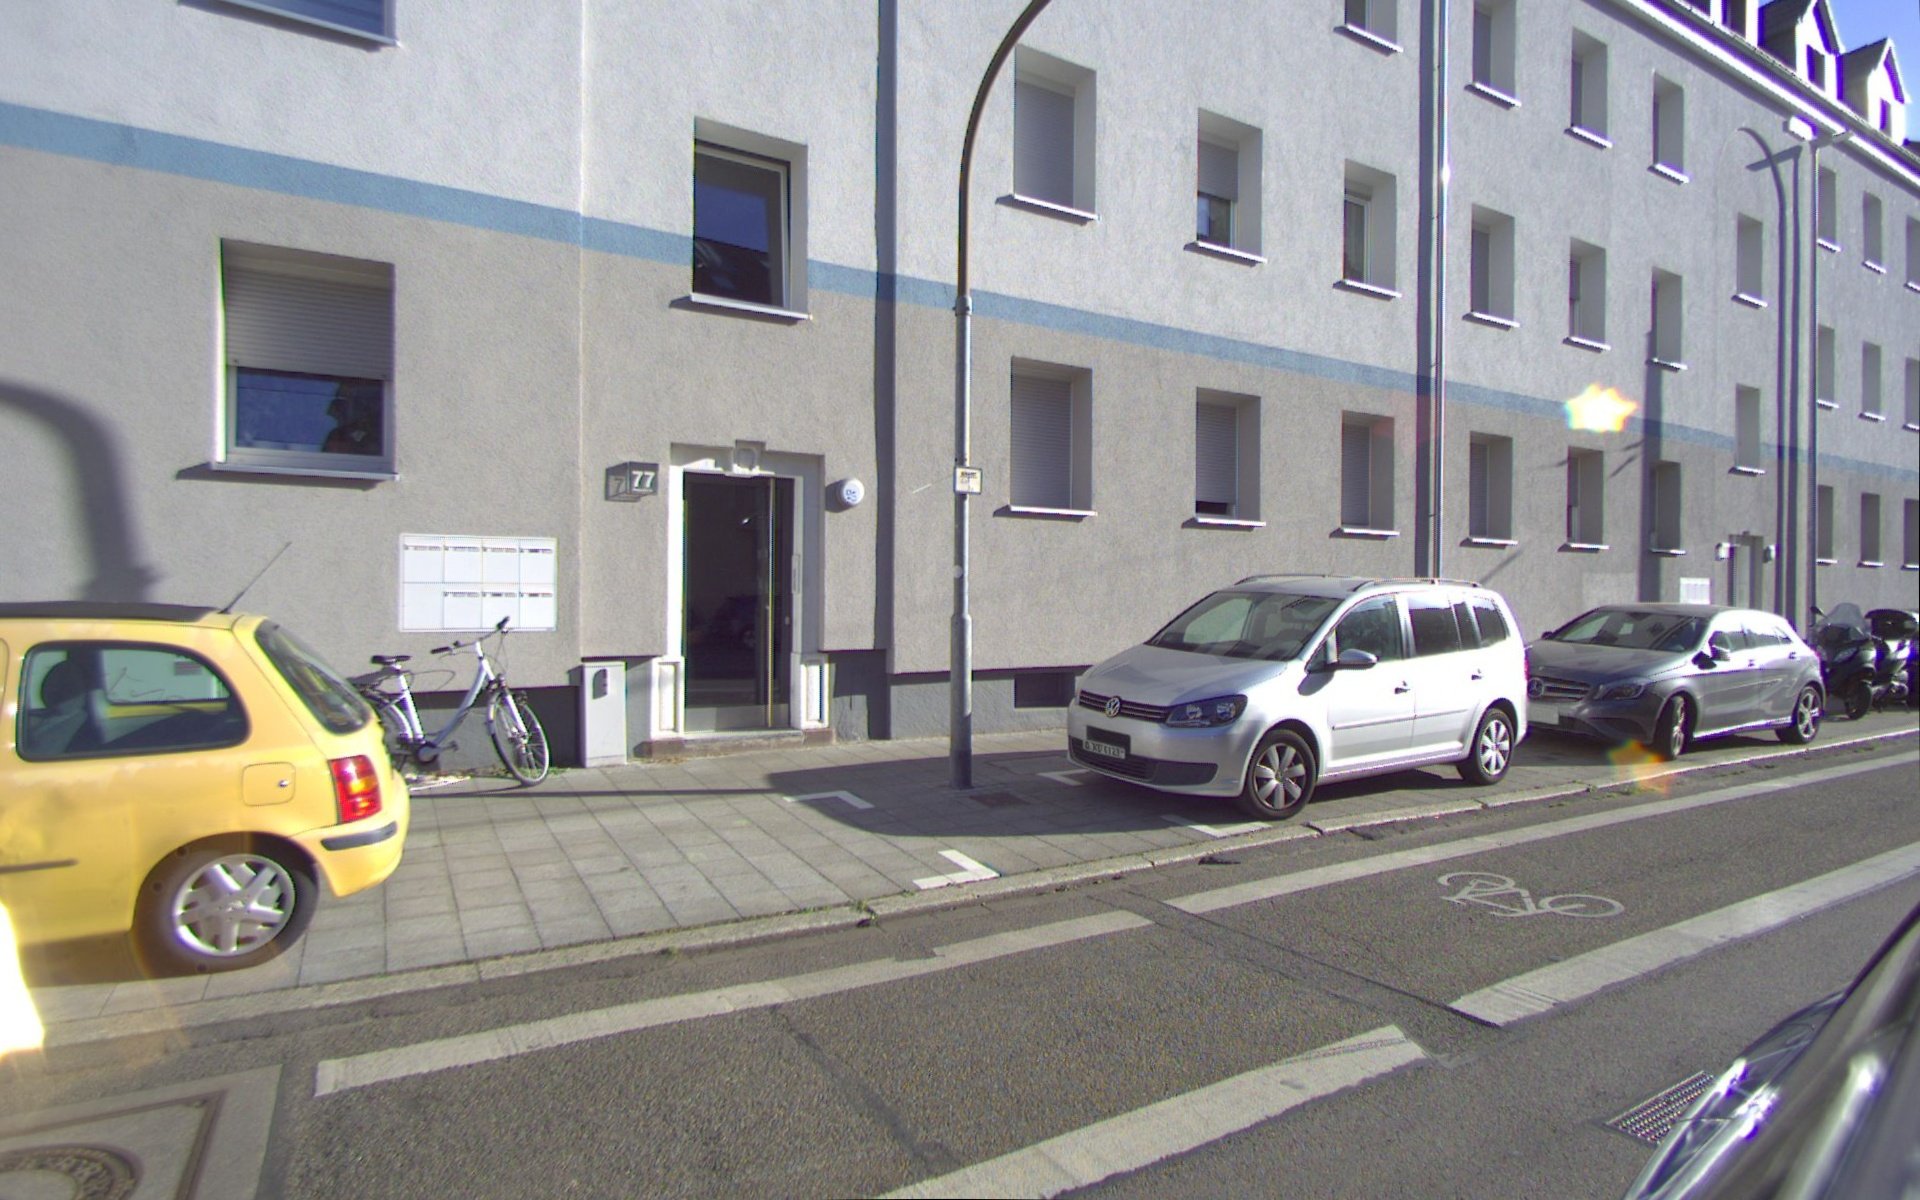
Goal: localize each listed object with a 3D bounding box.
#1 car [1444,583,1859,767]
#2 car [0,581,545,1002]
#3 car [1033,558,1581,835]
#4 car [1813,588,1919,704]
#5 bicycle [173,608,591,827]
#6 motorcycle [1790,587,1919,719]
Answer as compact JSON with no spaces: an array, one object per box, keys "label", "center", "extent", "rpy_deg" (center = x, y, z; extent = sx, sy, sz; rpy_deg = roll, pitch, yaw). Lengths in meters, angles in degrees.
[{"label":"car","center":[7.407,0.655,10.785],"extent":[4.278,1.574,1.873],"rpy_deg":[0,2,-29]},{"label":"car","center":[-3.977,0.664,4.044],"extent":[4.118,1.448,1.520],"rpy_deg":[-1,2,-31]},{"label":"car","center":[2.935,0.558,8.181],"extent":[4.536,1.686,1.762],"rpy_deg":[0,2,-33]},{"label":"car","center":[14.998,0.650,15.550],"extent":[3.825,1.590,1.616],"rpy_deg":[0,2,-29]},{"label":"bicycle","center":[-3.798,0.675,6.838],"extent":[2.281,1.212,1.100],"rpy_deg":[0,1,-32]},{"label":"motorcycle","center":[12.114,0.648,13.342],"extent":[2.654,1.539,0.810],"rpy_deg":[0,5,-30]}]
